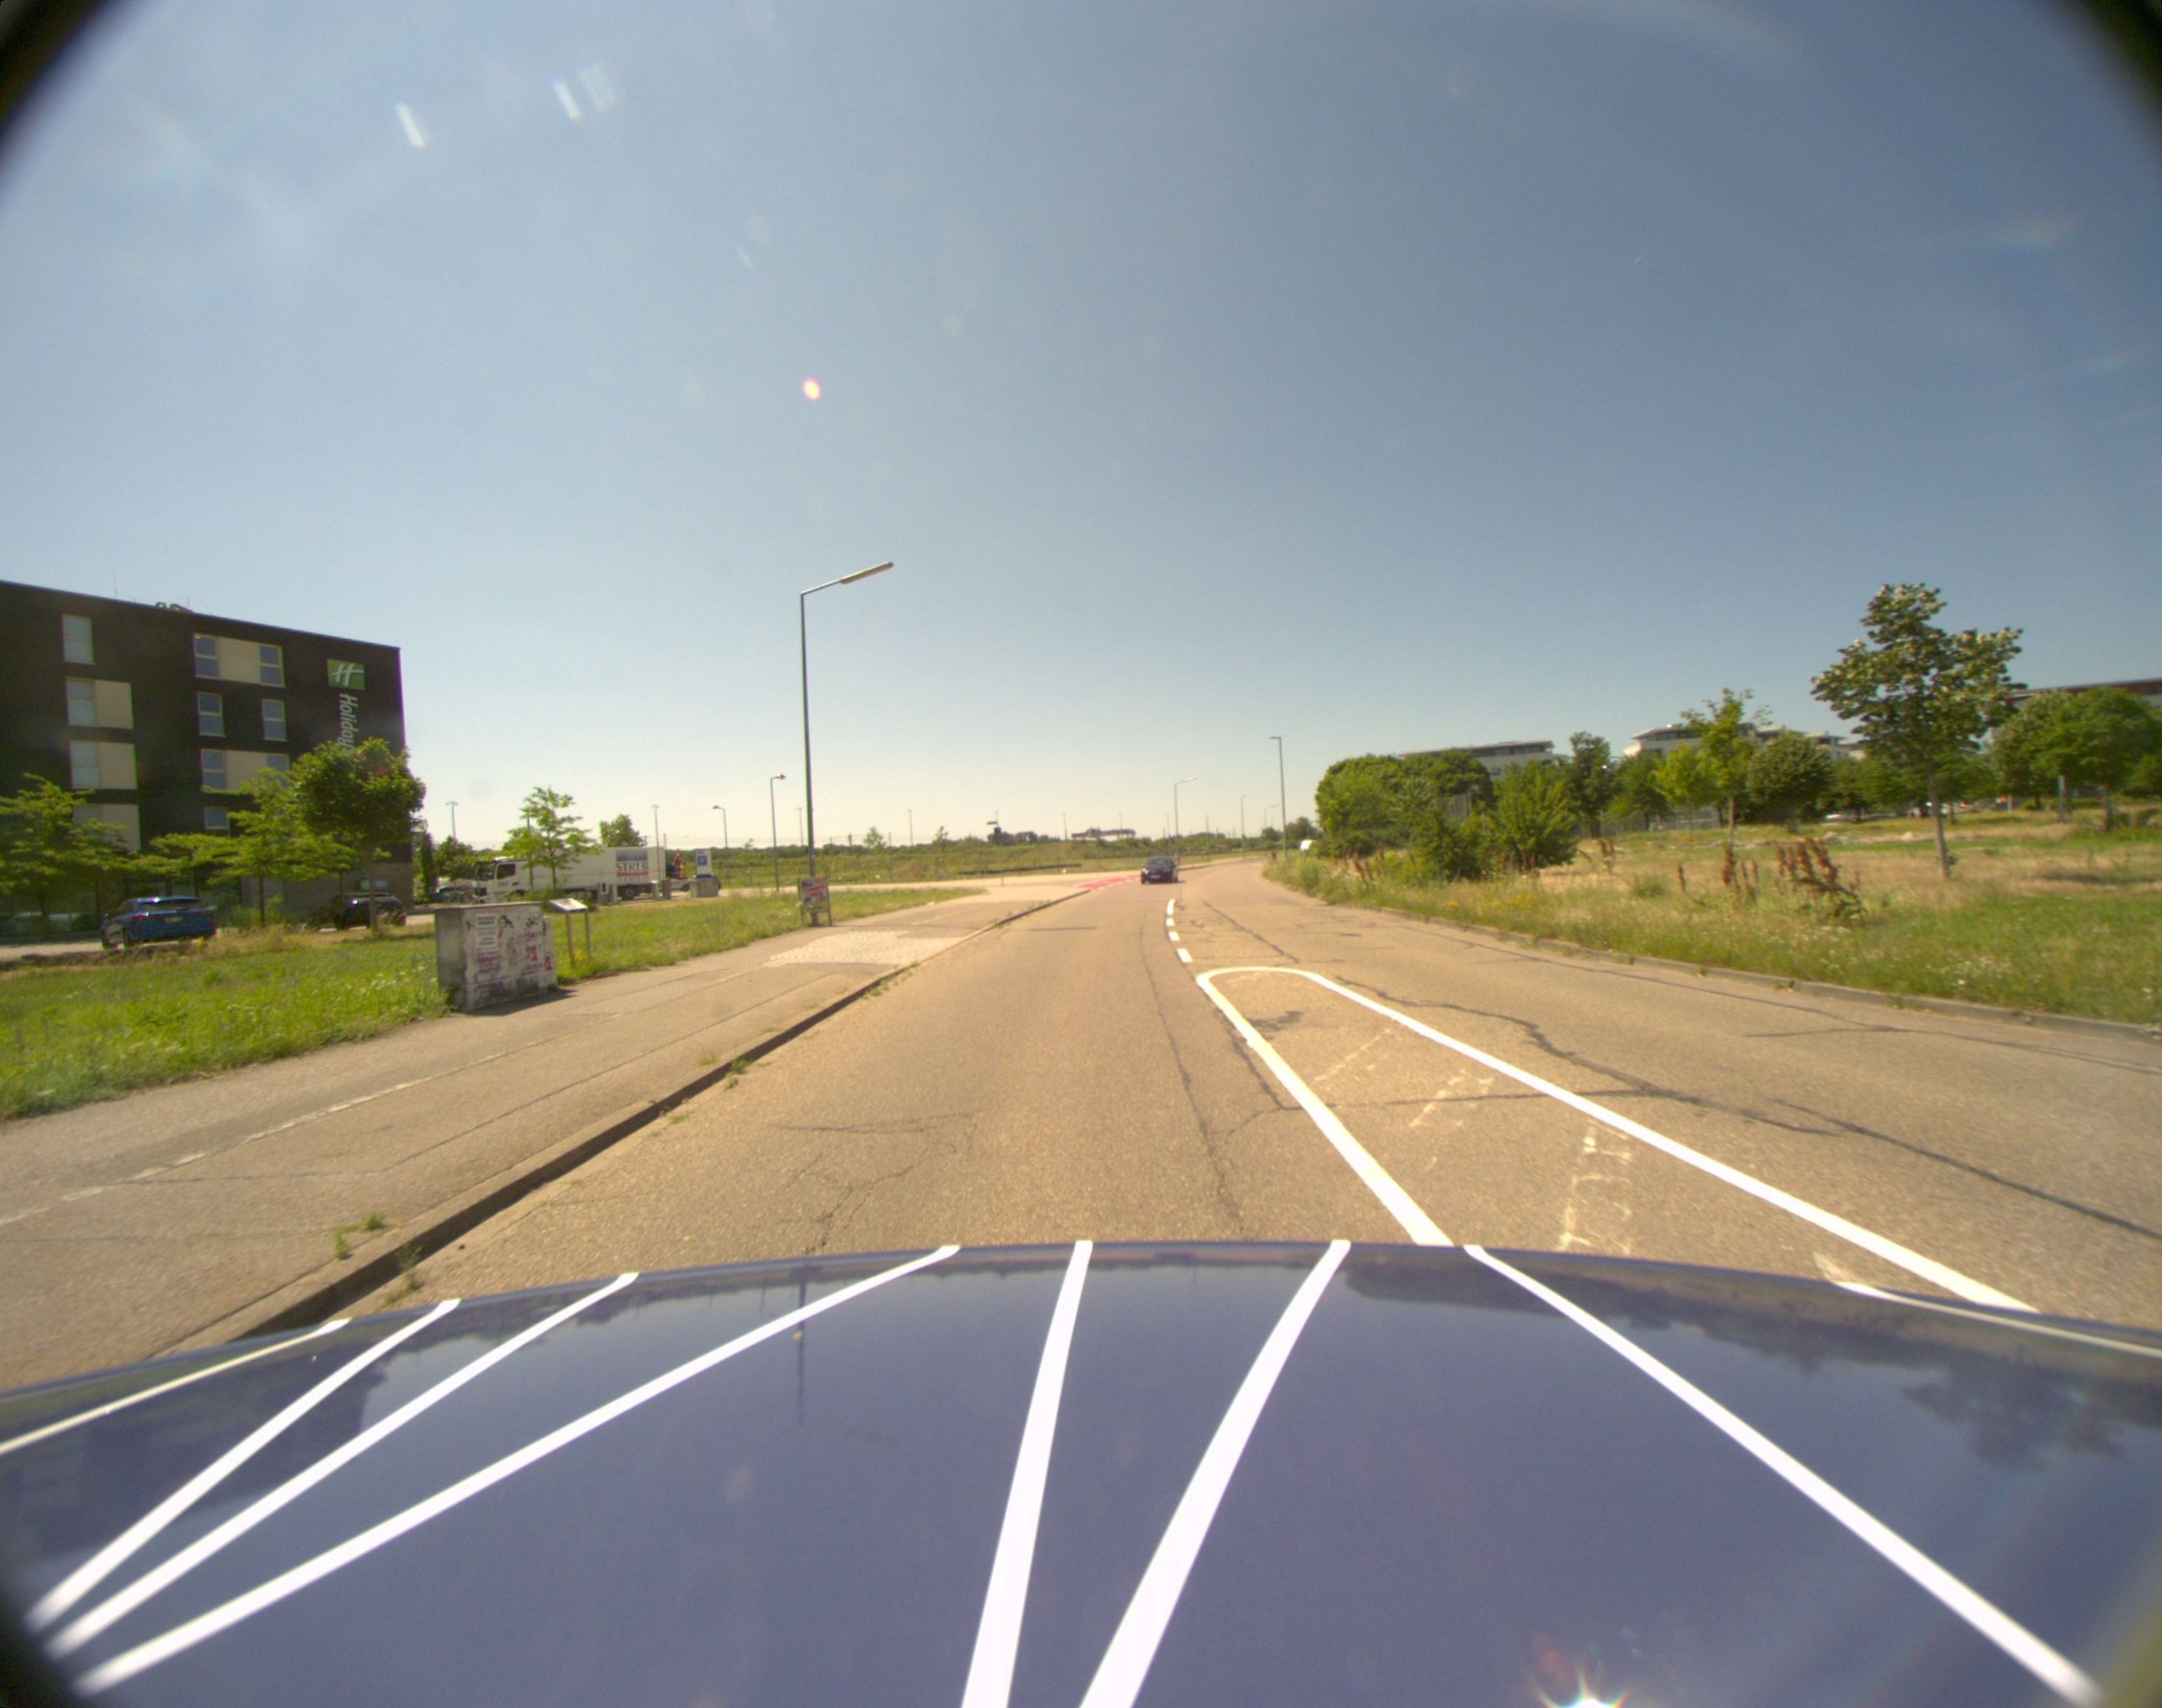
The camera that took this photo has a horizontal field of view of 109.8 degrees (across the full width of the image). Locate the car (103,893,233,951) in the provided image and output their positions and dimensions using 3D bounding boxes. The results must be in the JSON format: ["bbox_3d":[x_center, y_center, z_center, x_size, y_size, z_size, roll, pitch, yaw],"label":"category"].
[{"bbox_3d":[-29.888,2.188,24.869,4.061,1.642,1.958,-3,0,29],"label":"car"}]

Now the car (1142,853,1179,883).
[{"bbox_3d":[4.355,0.702,41.157,1.652,1.458,4.162,-3,0,10],"label":"car"}]

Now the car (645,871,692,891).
[{"bbox_3d":[-37.052,2.438,68.220,4.034,1.548,1.752,-3,0,30],"label":"car"}]

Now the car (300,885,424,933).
[{"bbox_3d":[-27.110,2.059,28.644,4.497,1.553,2.035,-3,0,28],"label":"car"}]

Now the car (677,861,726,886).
[{"bbox_3d":[-32.730,1.686,65.501,3.906,2.002,1.884,-3,0,32],"label":"car"}]

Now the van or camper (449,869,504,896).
[{"bbox_3d":[-68.736,3.240,86.379,6.410,2.760,2.570,-3,0,30],"label":"van or camper"}]

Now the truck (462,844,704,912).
[{"bbox_3d":[-29.782,1.238,46.560,3.010,3.442,12.160,-1,1,31],"label":"truck"}]

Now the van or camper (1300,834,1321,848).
[{"bbox_3d":[44.559,-2.586,147.377,2.137,2.558,5.877,-3,0,34],"label":"van or camper"}]
